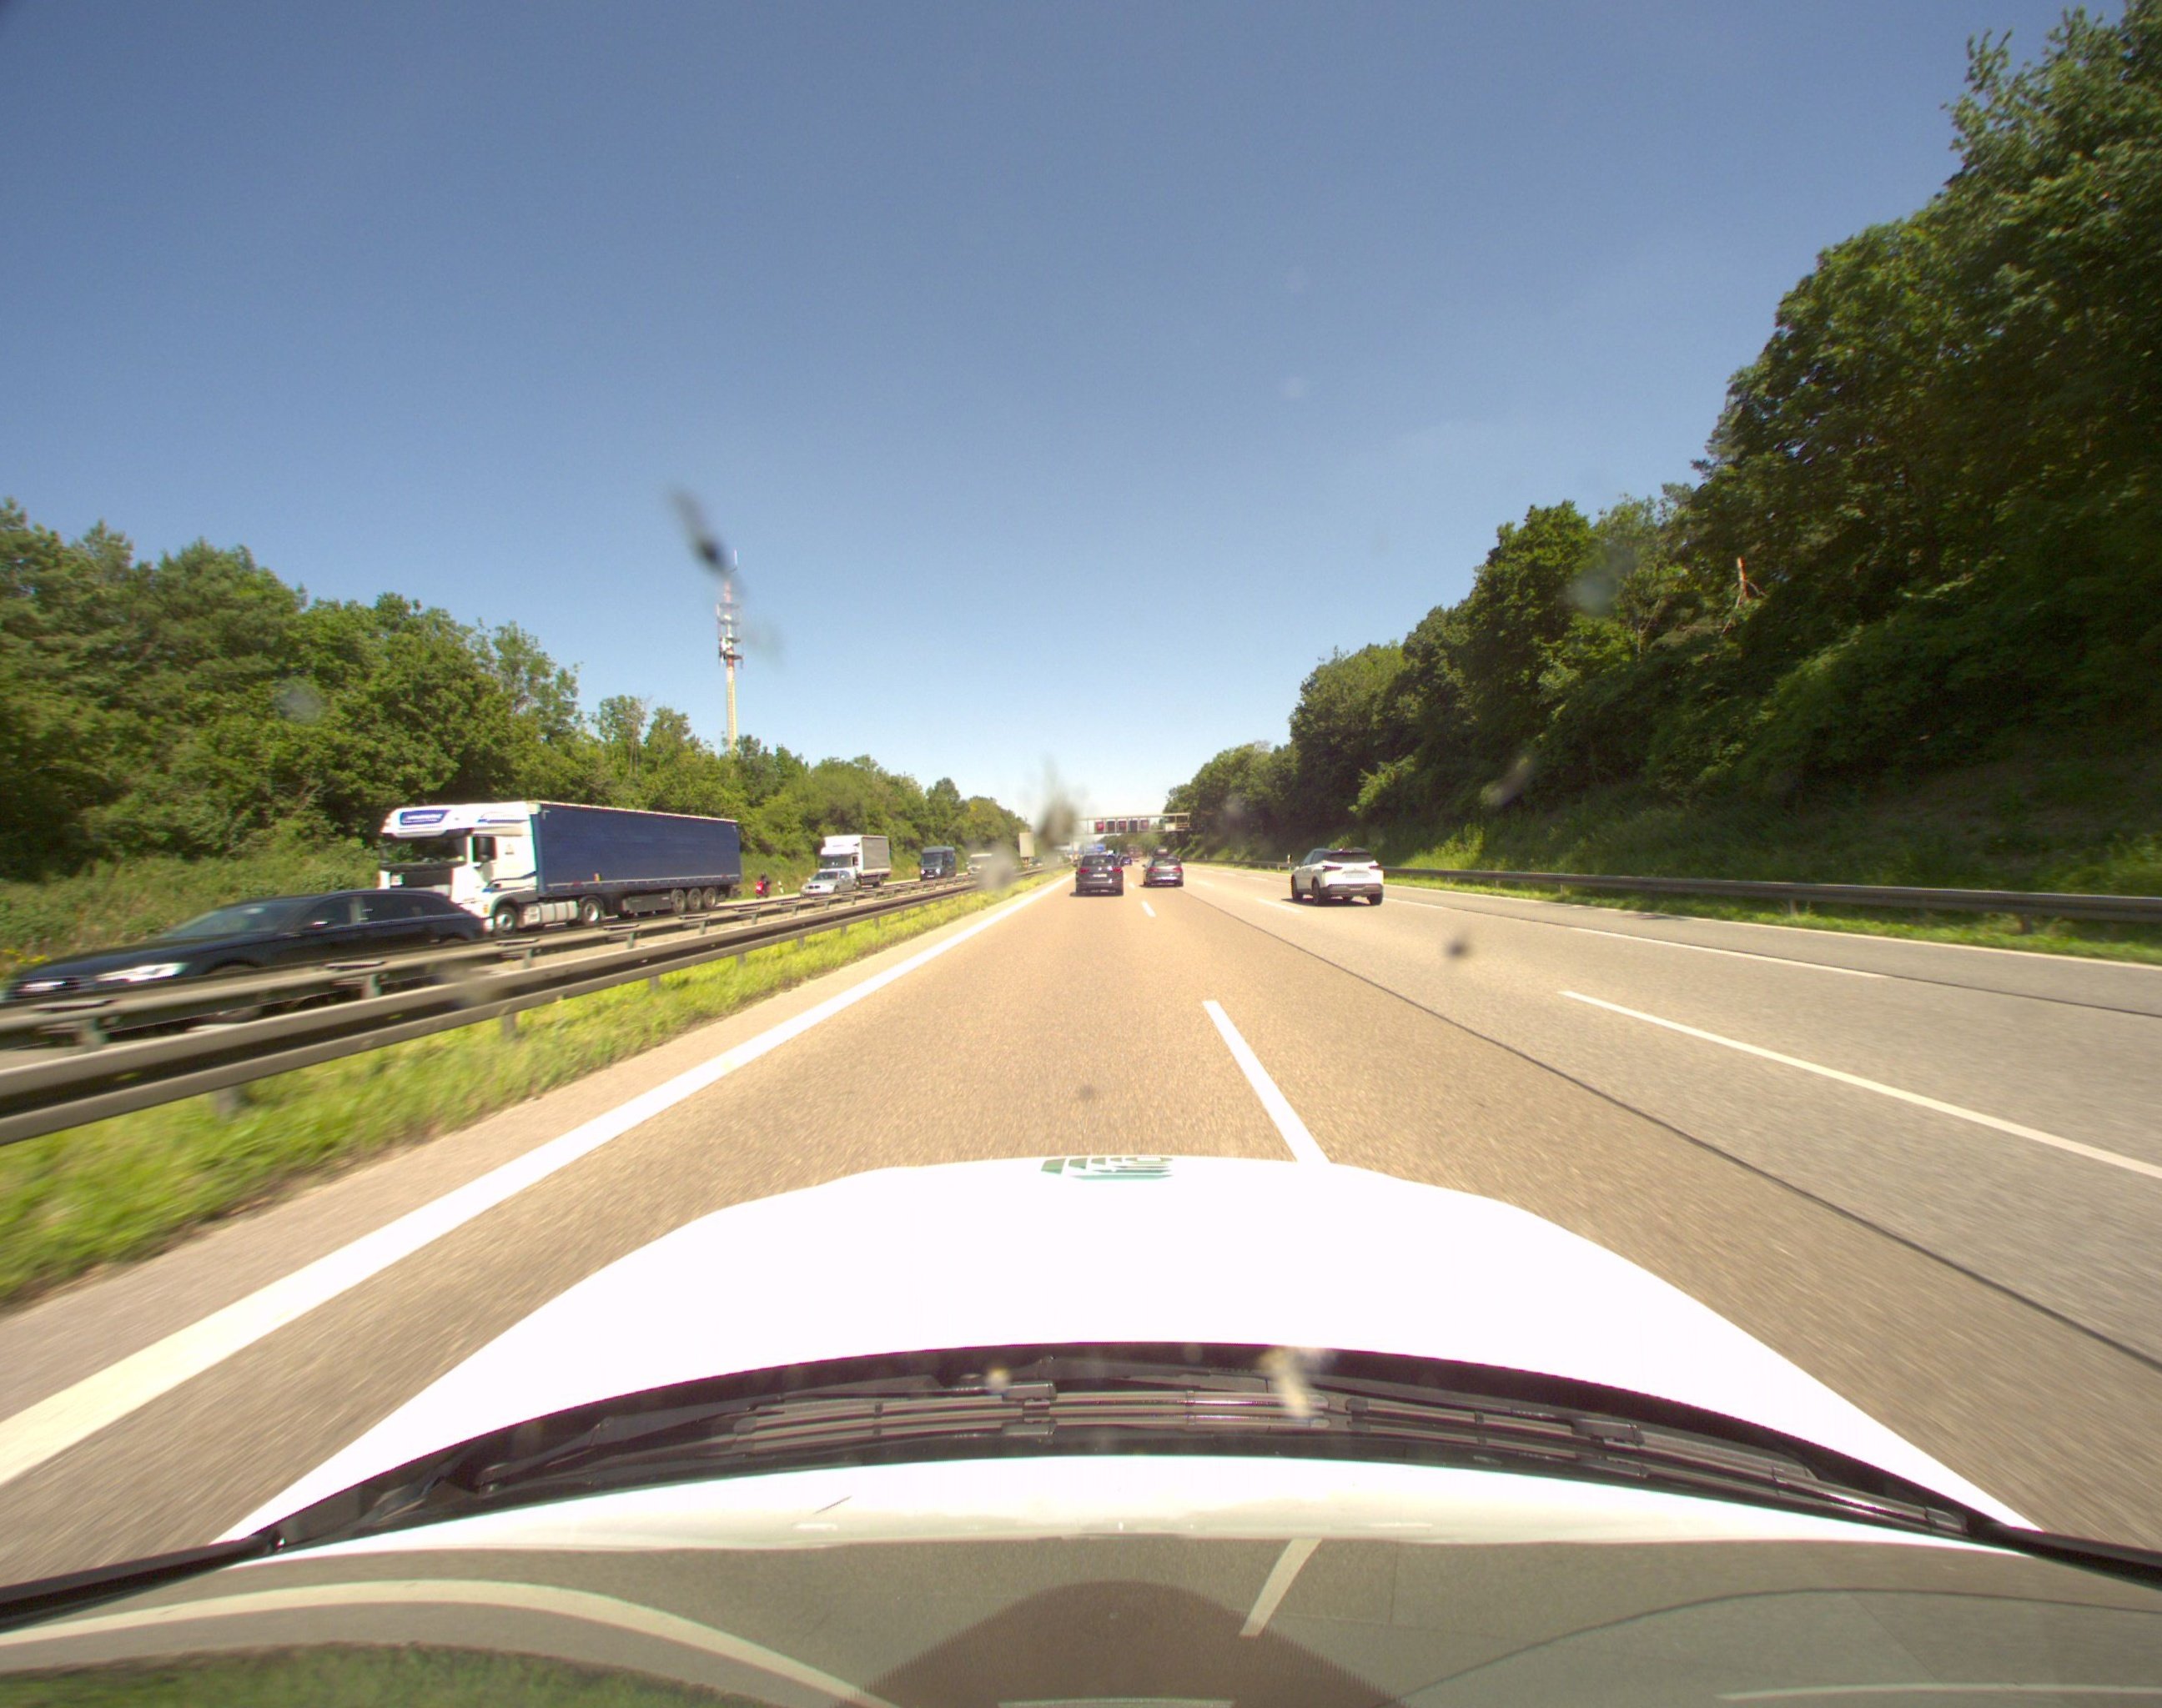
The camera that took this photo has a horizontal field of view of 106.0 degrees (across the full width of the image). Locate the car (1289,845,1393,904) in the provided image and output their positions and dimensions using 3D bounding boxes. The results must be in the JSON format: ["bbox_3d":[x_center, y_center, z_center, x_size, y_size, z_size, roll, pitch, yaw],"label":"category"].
[{"bbox_3d":[7.465,0.558,23.790,1.836,1.568,4.037,0,0,2],"label":"car"}]

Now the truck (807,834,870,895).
[{"bbox_3d":[-16.277,0.676,54.908,2.693,3.809,4.001,-4,0,1],"label":"truck"}]

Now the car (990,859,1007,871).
[{"bbox_3d":[-10.561,1.431,104.878,1.669,1.496,3.546,-2,0,1],"label":"car"}]

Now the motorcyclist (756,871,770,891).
[{"bbox_3d":[-19.759,1.686,50.570,0.546,1.219,0.681,-3,0,2],"label":"motorcyclist"}]

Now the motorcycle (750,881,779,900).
[{"bbox_3d":[-19.685,2.261,50.700,0.822,0.971,2.278,-5,0,2],"label":"motorcycle"}]

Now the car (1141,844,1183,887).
[{"bbox_3d":[3.869,0.530,39.442,1.659,1.876,4.829,-3,0,2],"label":"car"}]

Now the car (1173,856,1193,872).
[{"bbox_3d":[10.510,1.018,84.241,1.757,1.568,4.262,0,0,3],"label":"car"}]

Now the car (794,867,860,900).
[{"bbox_3d":[-12.458,1.404,40.224,1.707,1.418,4.506,-3,0,2],"label":"car"}]

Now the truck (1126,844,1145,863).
[{"bbox_3d":[13.184,-0.149,199.311,3.767,4.422,14.051,-1,0,1],"label":"truck"}]

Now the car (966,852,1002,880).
[{"bbox_3d":[-7.629,0.894,64.366,1.921,1.981,5.236,-5,0,2],"label":"car"}]

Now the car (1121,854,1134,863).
[{"bbox_3d":[6.938,0.684,121.373,1.757,1.381,4.262,0,0,3],"label":"car"}]

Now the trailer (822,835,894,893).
[{"bbox_3d":[-16.126,0.691,59.543,2.702,3.809,7.695,-4,0,2],"label":"trailer"}]

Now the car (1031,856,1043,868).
[{"bbox_3d":[-6.157,1.133,114.385,1.428,1.528,3.458,-2,0,1],"label":"car"}]

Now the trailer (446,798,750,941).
[{"bbox_3d":[-17.210,0.478,31.240,2.605,4.058,14.174,-4,0,2],"label":"trailer"}]

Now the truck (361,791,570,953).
[{"bbox_3d":[-17.452,0.476,23.422,2.605,4.058,4.001,-4,0,1],"label":"truck"}]

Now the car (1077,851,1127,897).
[{"bbox_3d":[0.875,0.716,31.910,1.792,1.669,4.262,0,0,3],"label":"car"}]

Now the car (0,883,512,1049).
[{"bbox_3d":[-10.013,1.204,10.495,1.800,1.405,4.821,-3,0,2],"label":"car"}]

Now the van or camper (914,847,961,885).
[{"bbox_3d":[-11.795,0.925,67.480,2.189,2.811,6.801,-4,0,2],"label":"van or camper"}]
